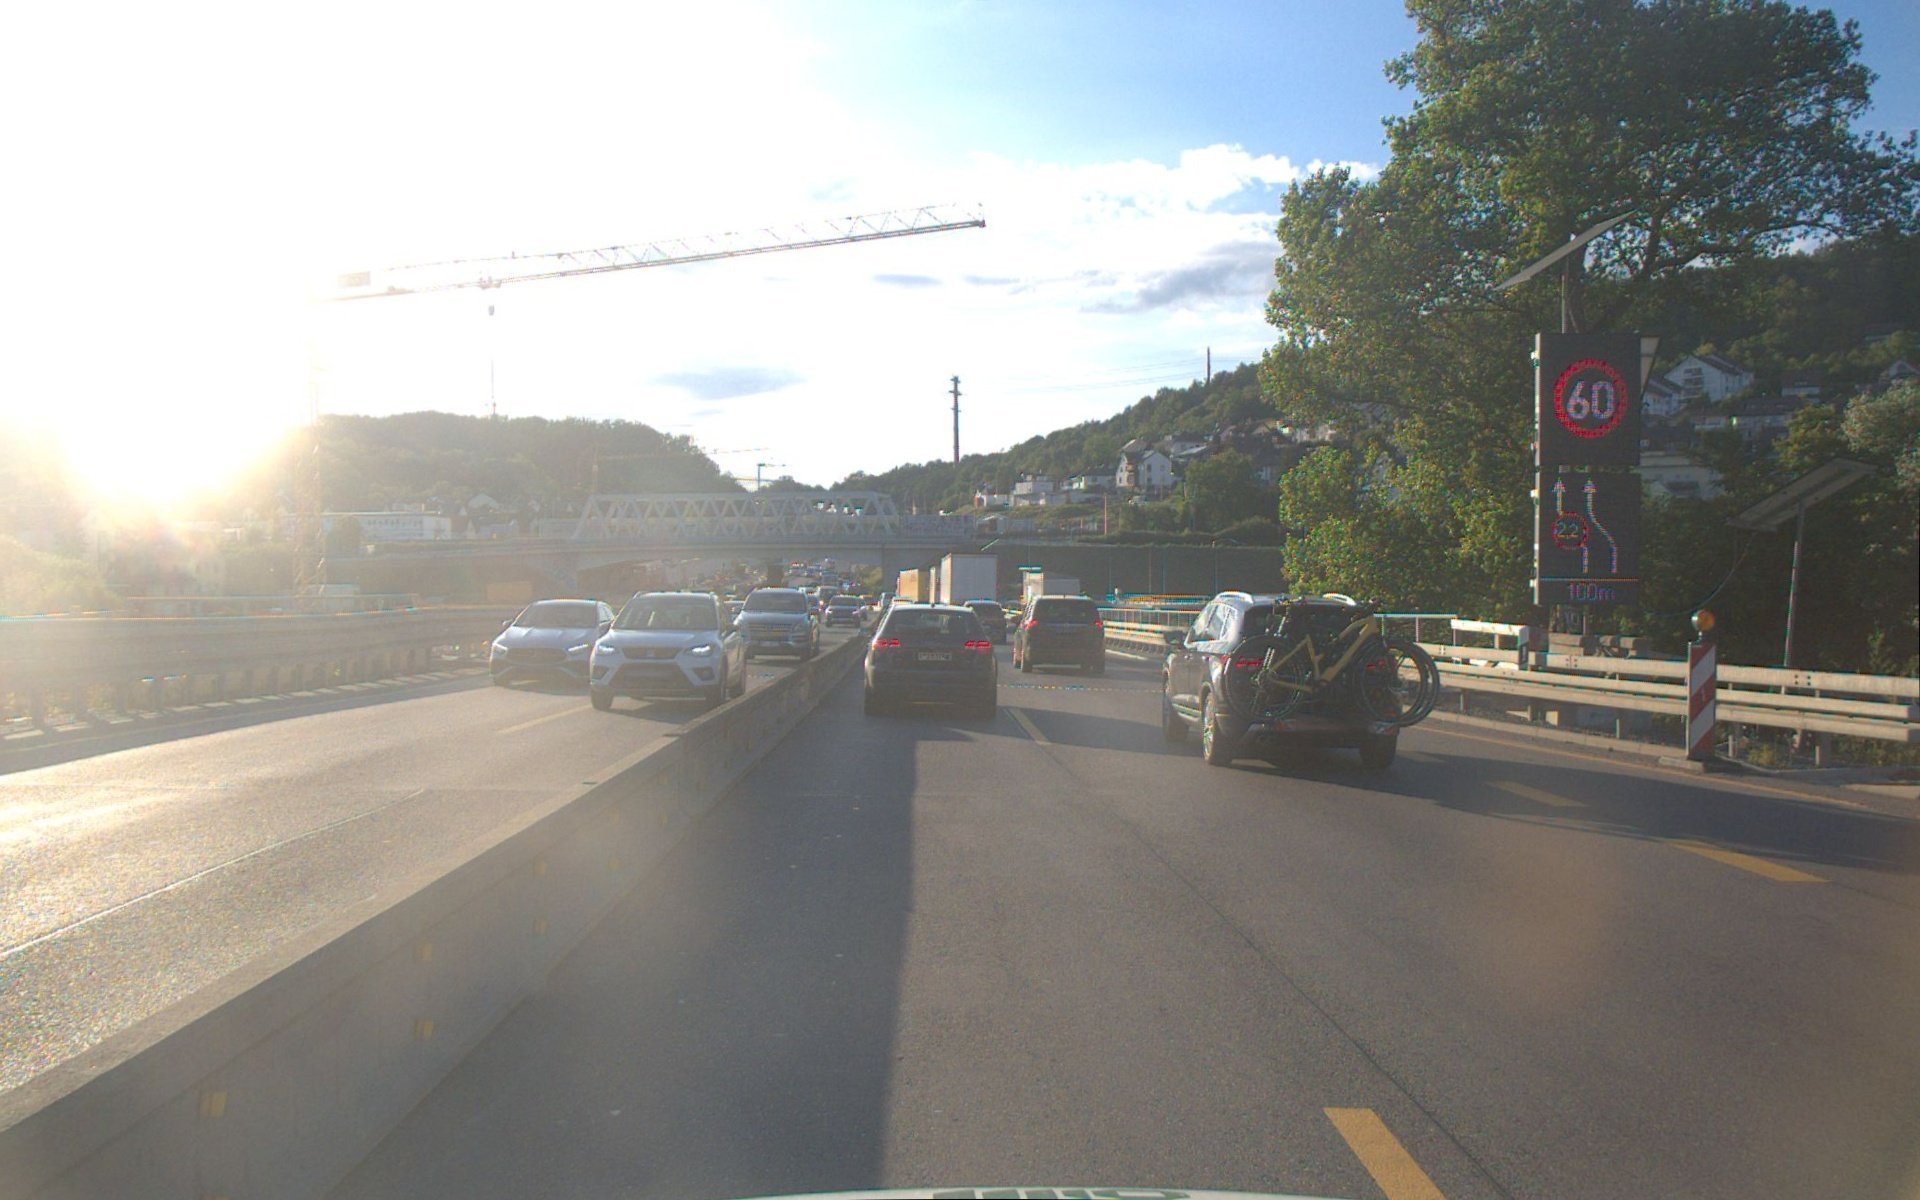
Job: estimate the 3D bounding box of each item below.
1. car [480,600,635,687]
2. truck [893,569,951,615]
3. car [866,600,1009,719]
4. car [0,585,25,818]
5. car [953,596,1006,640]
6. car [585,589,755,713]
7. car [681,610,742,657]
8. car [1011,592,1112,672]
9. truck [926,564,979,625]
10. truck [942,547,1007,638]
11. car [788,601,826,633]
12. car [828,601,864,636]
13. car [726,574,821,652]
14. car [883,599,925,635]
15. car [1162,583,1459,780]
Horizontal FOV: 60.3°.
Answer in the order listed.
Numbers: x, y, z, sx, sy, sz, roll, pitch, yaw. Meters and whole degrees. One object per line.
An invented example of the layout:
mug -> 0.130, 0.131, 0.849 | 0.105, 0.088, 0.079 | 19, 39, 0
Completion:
car -> -6.948, 0.728, 28.982 | 1.738, 1.406, 4.530 | 0, -1, -2
truck -> -4.123, -0.910, 173.395 | 3.820, 4.576, 13.814 | 1, 1, -11
car -> -0.391, 0.734, 22.370 | 1.735, 1.414, 3.997 | 1, 0, -3
car -> -6.724, 0.641, 8.197 | 1.643, 1.447, 4.578 | 1, 1, -1
car -> 0.718, 0.671, 64.178 | 1.735, 1.580, 3.997 | 2, 0, -3
car -> -3.889, 0.633, 22.803 | 1.768, 1.538, 3.998 | 0, 0, -2
car -> -8.991, 1.196, 60.087 | 1.676, 1.579, 3.999 | 0, 1, -2
car -> 2.194, 0.662, 36.787 | 1.778, 1.661, 4.409 | 1, 0, -2
truck -> -0.756, -0.589, 134.732 | 3.812, 4.576, 15.262 | 1, 1, -2
truck -> 0.670, -0.628, 93.856 | 3.317, 4.576, 15.267 | 1, 2, -1
car -> -9.837, 1.085, 106.679 | 1.953, 1.888, 4.281 | 3, 0, -1
car -> -6.517, 1.033, 94.658 | 1.891, 1.784, 4.669 | 3, 0, -4
car -> -4.517, 0.308, 40.651 | 1.953, 1.789, 4.658 | 1, 0, -2
car -> -2.522, 0.723, 73.876 | 1.730, 1.512, 3.997 | 2, 0, -4
car -> 3.212, 0.678, 16.191 | 1.837, 1.627, 4.965 | 0, 0, 0
